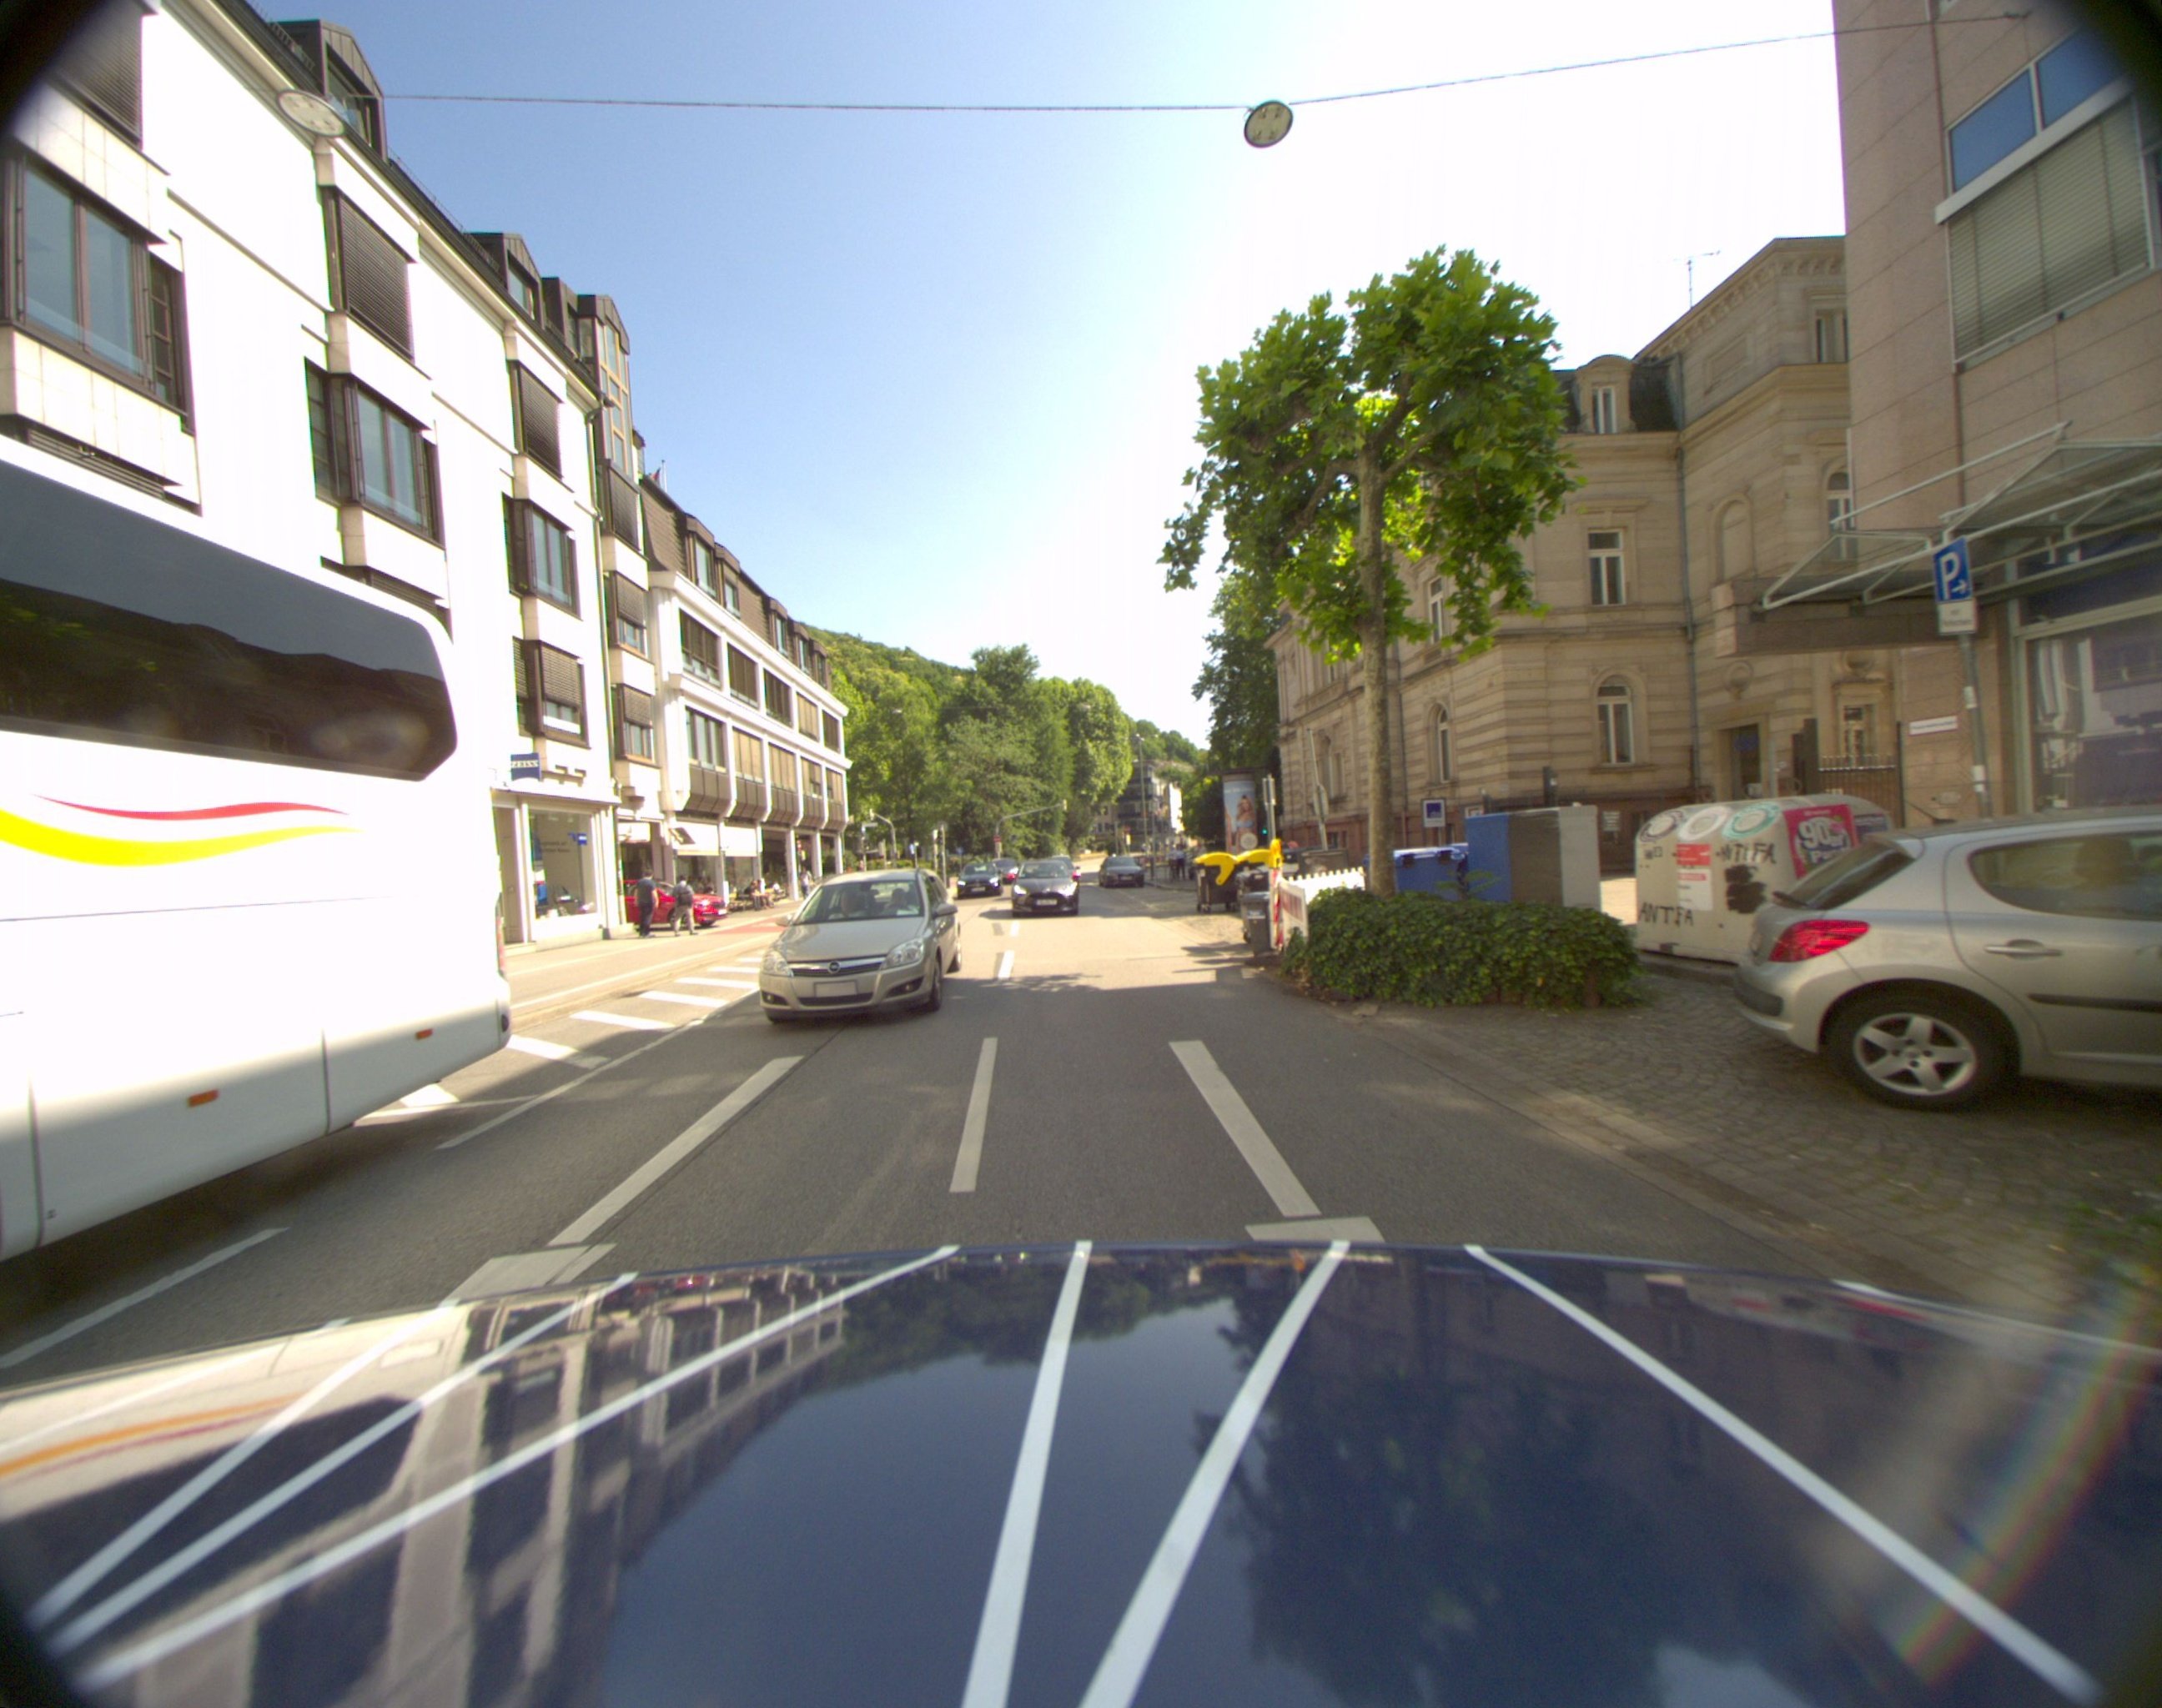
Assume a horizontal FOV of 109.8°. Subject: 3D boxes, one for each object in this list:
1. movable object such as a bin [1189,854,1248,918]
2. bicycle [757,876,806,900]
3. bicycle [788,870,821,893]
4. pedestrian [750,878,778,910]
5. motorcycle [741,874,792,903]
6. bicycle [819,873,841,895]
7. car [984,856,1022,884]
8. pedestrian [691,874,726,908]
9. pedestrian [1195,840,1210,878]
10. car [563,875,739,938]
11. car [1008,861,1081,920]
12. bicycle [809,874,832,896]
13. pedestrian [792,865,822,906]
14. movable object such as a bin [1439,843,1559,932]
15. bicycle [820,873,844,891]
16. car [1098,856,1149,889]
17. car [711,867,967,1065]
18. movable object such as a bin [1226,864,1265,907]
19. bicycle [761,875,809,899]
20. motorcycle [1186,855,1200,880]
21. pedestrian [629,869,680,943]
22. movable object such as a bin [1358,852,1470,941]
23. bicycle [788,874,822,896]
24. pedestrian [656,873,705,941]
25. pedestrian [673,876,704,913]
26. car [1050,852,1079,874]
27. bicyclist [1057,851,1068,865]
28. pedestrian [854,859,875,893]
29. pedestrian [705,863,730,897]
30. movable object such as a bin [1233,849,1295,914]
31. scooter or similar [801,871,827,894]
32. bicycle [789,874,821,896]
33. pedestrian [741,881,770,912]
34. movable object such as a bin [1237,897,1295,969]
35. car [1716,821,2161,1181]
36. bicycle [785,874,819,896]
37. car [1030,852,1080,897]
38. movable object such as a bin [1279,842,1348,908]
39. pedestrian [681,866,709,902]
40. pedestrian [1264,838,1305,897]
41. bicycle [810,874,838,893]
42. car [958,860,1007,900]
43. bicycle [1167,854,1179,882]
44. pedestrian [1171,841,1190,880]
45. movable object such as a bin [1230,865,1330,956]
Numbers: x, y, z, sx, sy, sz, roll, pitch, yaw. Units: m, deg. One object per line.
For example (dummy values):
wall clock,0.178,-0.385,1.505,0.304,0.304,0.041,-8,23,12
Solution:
movable object such as a bin,3.387,0.766,18.868,1.126,1.442,1.439,-5,0,3
bicycle,-15.363,1.731,38.983,2.244,1.090,0.277,-4,1,-16
bicycle,-17.526,1.742,48.147,1.862,1.309,0.529,-2,0,-42
pedestrian,-12.929,1.629,31.023,0.713,1.210,0.697,-3,2,6
motorcycle,-15.344,1.676,37.086,2.238,1.283,0.950,-2,2,25
bicycle,-13.995,1.666,42.391,0.277,1.114,2.244,-3,0,5
car,-4.611,0.936,45.454,1.942,1.421,4.341,-3,1,-3
pedestrian,-15.932,1.573,32.493,0.898,1.343,1.104,-3,2,-4
pedestrian,5.422,0.222,33.931,0.550,1.656,0.937,-3,2,6
car,-12.676,1.537,22.609,4.055,1.486,1.840,-3,3,-2
car,-1.088,0.945,21.012,1.811,1.443,3.952,-1,-1,-5
bicycle,-14.416,1.694,42.143,0.277,1.114,2.244,-3,0,5
pedestrian,-11.602,1.335,32.193,0.834,1.654,0.697,-3,2,6
movable object such as a bin,6.801,0.530,12.446,1.212,1.292,1.127,-5,0,-3
bicycle,-15.051,1.685,45.878,0.308,1.059,1.474,-2,1,32
car,1.886,0.792,34.844,1.942,1.346,4.249,-3,0,-2
car,-2.407,0.994,8.765,1.712,1.513,4.405,-4,0,-4
movable object such as a bin,4.405,0.838,20.336,0.725,1.091,0.656,-5,0,-11
bicycle,-15.432,1.709,39.598,2.243,1.114,0.277,-4,1,-10
motorcycle,4.998,0.598,33.937,0.454,0.992,2.161,-5,1,7
pedestrian,-11.271,1.357,20.085,0.696,1.840,0.835,-3,2,6
movable object such as a bin,5.406,0.672,12.416,1.212,1.292,1.079,-5,0,-3
bicycle,-15.095,1.682,41.575,1.720,1.114,0.277,-2,1,4
pedestrian,-10.509,1.380,19.970,0.696,1.676,0.835,-3,1,6
pedestrian,-15.767,1.602,30.512,0.815,1.389,0.696,-4,2,-5
car,-1.182,0.618,56.786,1.941,1.421,4.549,-3,1,1
bicyclist,-2.132,0.454,86.647,0.866,1.566,0.944,-2,2,26
pedestrian,-12.081,1.239,42.428,0.834,1.825,0.697,-3,2,6
pedestrian,-15.952,1.129,33.347,0.713,1.389,0.696,-3,2,-4
movable object such as a bin,4.512,0.660,18.818,1.126,1.442,1.439,-5,0,3
scooter or similar,-15.355,1.659,43.696,1.249,1.225,0.480,-4,1,3
bicycle,-14.777,1.672,40.668,1.574,1.114,0.277,-2,1,4
pedestrian,-12.911,1.676,30.167,0.713,1.166,0.697,-3,2,6
movable object such as a bin,2.568,1.084,10.570,0.556,0.934,0.499,-2,0,-29
car,5.738,0.583,3.602,4.048,1.486,1.939,-5,0,38
bicycle,-15.117,1.673,41.179,1.720,1.114,0.277,-2,1,4
car,-1.131,0.785,32.054,1.890,1.674,4.140,-3,1,-3
movable object such as a bin,5.665,0.503,18.640,1.212,1.442,1.364,-5,0,3
pedestrian,-15.901,1.221,31.334,0.713,1.389,0.696,-3,2,-4
pedestrian,6.253,0.409,23.332,0.892,1.715,0.748,-4,1,-10
bicycle,-15.124,1.720,44.745,0.376,1.059,1.474,-1,1,44
car,-4.206,1.037,32.281,1.849,1.421,4.209,-3,1,-8
bicycle,4.133,0.609,33.997,0.430,1.114,2.243,-5,2,8
pedestrian,4.503,0.293,34.454,0.696,1.686,0.690,-3,2,-1
movable object such as a bin,3.150,0.873,12.130,1.280,1.292,0.853,-4,1,-3
